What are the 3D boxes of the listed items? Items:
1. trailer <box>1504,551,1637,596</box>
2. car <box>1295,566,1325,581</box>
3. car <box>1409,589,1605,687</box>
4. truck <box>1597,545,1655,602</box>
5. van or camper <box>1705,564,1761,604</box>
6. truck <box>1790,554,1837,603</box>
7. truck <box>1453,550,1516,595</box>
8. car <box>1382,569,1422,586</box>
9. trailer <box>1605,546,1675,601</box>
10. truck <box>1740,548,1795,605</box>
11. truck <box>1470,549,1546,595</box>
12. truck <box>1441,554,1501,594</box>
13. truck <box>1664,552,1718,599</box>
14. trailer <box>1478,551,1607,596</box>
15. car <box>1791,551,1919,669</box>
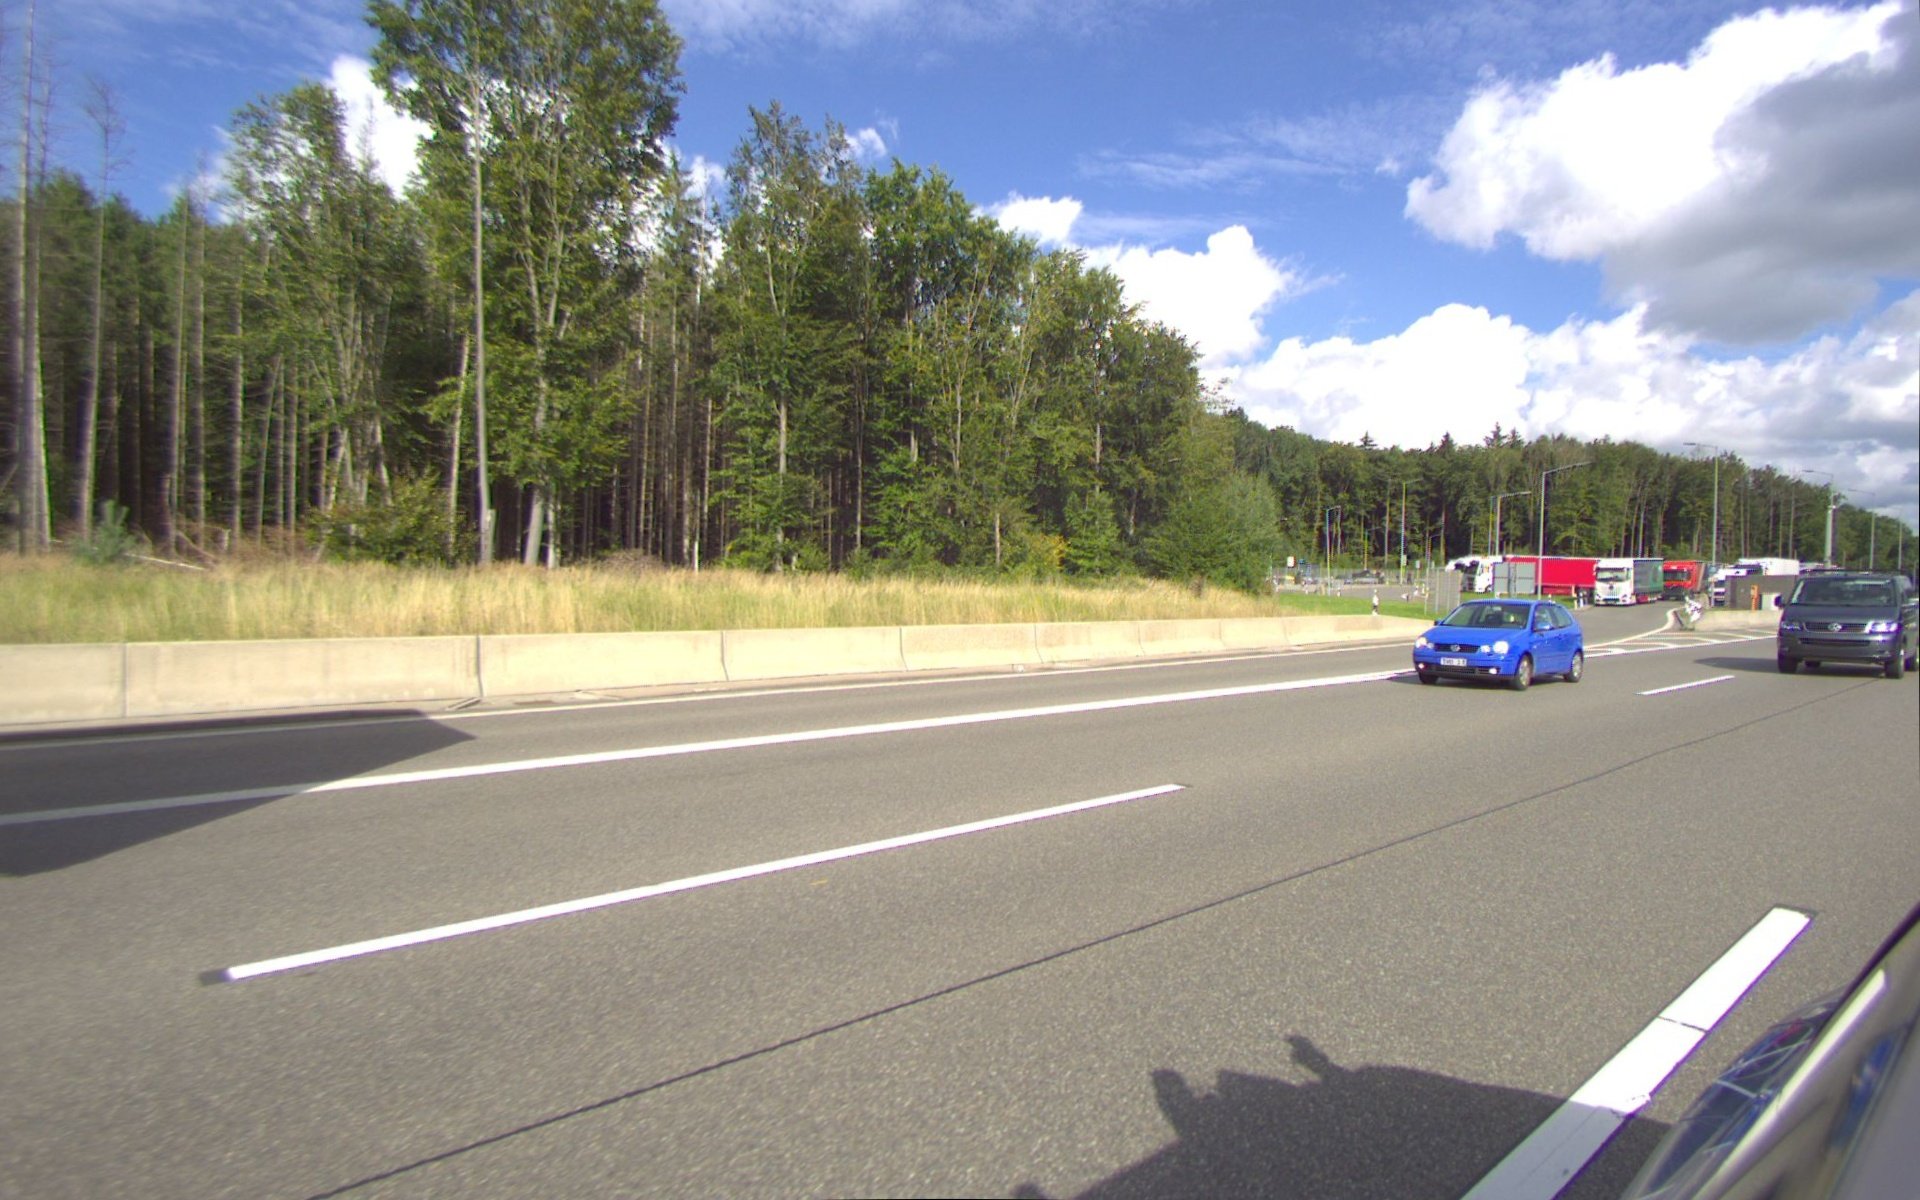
[{"bbox_3d":[61.193,-2.670,101.700,11.186,4.429,2.841,1,0,6],"label":"trailer"},{"bbox_3d":[41.568,-3.208,120.233,1.920,1.704,4.003,1,2,-2],"label":"car"},{"bbox_3d":[9.319,0.556,17.115,3.930,1.460,1.653,0,1,-41],"label":"car"},{"bbox_3d":[55.696,-2.218,84.612,2.871,4.562,7.067,2,2,43],"label":"truck"},{"bbox_3d":[64.065,-1.297,83.859,4.652,3.237,2.397,0,1,-35],"label":"van or camper"},{"bbox_3d":[89.605,-2.253,106.215,7.136,4.986,2.659,0,2,-42],"label":"truck"},{"bbox_3d":[55.009,-2.889,106.221,5.032,4.564,2.893,1,1,5],"label":"truck"},{"bbox_3d":[53.615,-2.777,122.685,1.966,1.938,3.993,0,2,-42],"label":"car"},{"bbox_3d":[60.272,-2.302,89.477,2.872,4.562,12.796,2,2,44],"label":"trailer"},{"bbox_3d":[73.574,-2.089,92.157,6.865,4.986,2.659,0,2,-42],"label":"truck"},{"bbox_3d":[55.338,-2.797,102.327,5.990,4.563,2.876,1,0,6],"label":"truck"},{"bbox_3d":[55.217,-2.787,109.406,5.081,4.169,2.569,1,1,6],"label":"truck"},{"bbox_3d":[73.005,-2.413,101.052,6.914,4.563,2.876,0,1,-41],"label":"truck"},{"bbox_3d":[60.680,-2.770,105.683,11.344,4.485,2.859,1,1,6],"label":"trailer"},{"bbox_3d":[18.657,0.168,20.707,4.847,2.136,1.852,0,0,-42],"label":"car"}]
